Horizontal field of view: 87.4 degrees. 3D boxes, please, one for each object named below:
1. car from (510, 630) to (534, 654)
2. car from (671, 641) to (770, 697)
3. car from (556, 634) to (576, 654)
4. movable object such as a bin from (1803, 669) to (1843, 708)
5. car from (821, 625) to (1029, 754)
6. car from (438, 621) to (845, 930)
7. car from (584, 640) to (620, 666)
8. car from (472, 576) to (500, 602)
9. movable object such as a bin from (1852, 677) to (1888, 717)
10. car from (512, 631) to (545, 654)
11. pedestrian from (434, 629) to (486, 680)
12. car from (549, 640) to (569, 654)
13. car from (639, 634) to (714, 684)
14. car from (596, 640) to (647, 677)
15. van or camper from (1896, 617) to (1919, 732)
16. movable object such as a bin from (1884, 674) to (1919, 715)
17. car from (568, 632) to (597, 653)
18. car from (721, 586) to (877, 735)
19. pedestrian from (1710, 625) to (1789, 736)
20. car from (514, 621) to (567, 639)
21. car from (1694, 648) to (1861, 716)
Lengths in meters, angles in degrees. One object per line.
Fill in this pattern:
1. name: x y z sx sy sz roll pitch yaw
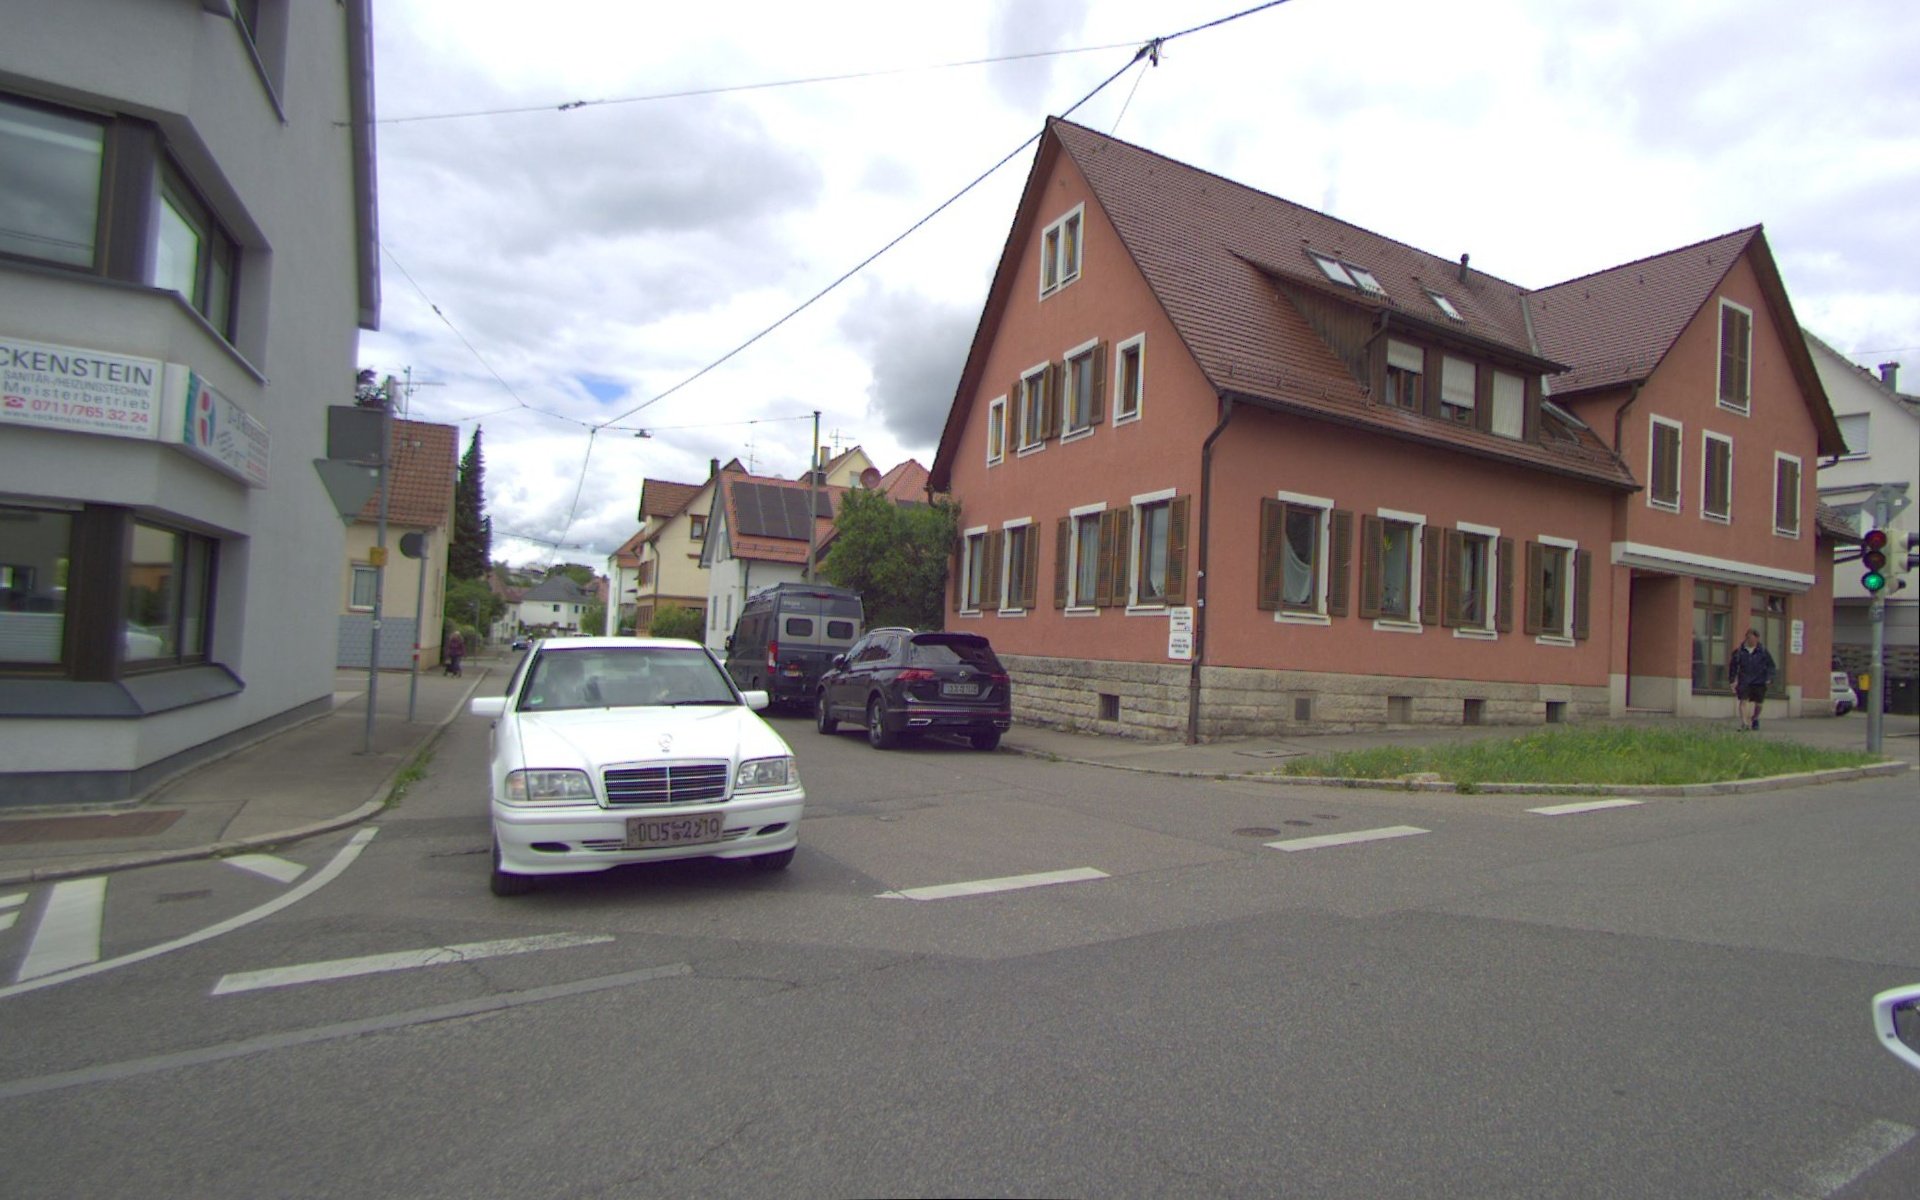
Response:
1. car: -42.256 4.007 96.906 1.972 2.040 3.976 2 0 -24
2. car: -7.349 2.051 30.470 2.238 1.527 4.810 2 -3 -22
3. car: -47.201 5.252 120.291 1.973 2.040 3.975 2 0 -25
4. movable object such as a bin: 23.667 2.411 27.552 0.787 1.031 0.661 2 -2 -35
5. car: -0.670 1.296 14.893 1.778 1.610 4.038 3 -5 -22
6. car: -2.359 0.961 7.273 1.970 1.464 4.547 1 -3 -21
7. car: -26.038 3.849 72.991 2.238 1.528 4.808 2 0 -22
8. car: -40.240 -0.936 85.278 1.972 2.040 3.976 2 0 -24
9. movable object such as a bin: 24.121 2.566 26.625 0.628 0.984 0.531 2 1 -31
10. car: -34.516 3.357 80.387 2.238 1.528 4.808 2 0 -22
11. pedestrian: -16.649 1.835 33.491 1.037 1.608 1.299 3 -4 -6
12. car: -52.815 6.192 132.340 2.238 1.528 4.808 2 0 -22
13. car: -10.945 2.214 38.569 2.238 1.528 4.808 2 0 -22
14. car: -17.609 2.995 52.113 2.238 1.528 4.808 2 0 -22
15. van or camper: 19.370 1.456 18.395 4.805 2.031 2.063 5 -5 -32
16. movable object such as a bin: 24.581 2.448 26.111 0.787 1.031 0.661 2 -2 -35
17. car: -33.263 3.702 88.418 2.238 1.528 4.808 2 0 -22
18. car: -3.634 1.161 21.762 2.238 2.812 4.926 2 0 -22
19. pedestrian: 13.465 1.351 17.134 0.883 1.808 0.796 2 -1 -32
20. car: -67.009 4.844 160.586 7.080 2.739 3.209 1 -2 3
21. car: 20.450 2.027 25.195 1.721 1.494 2.818 3 -2 -28
